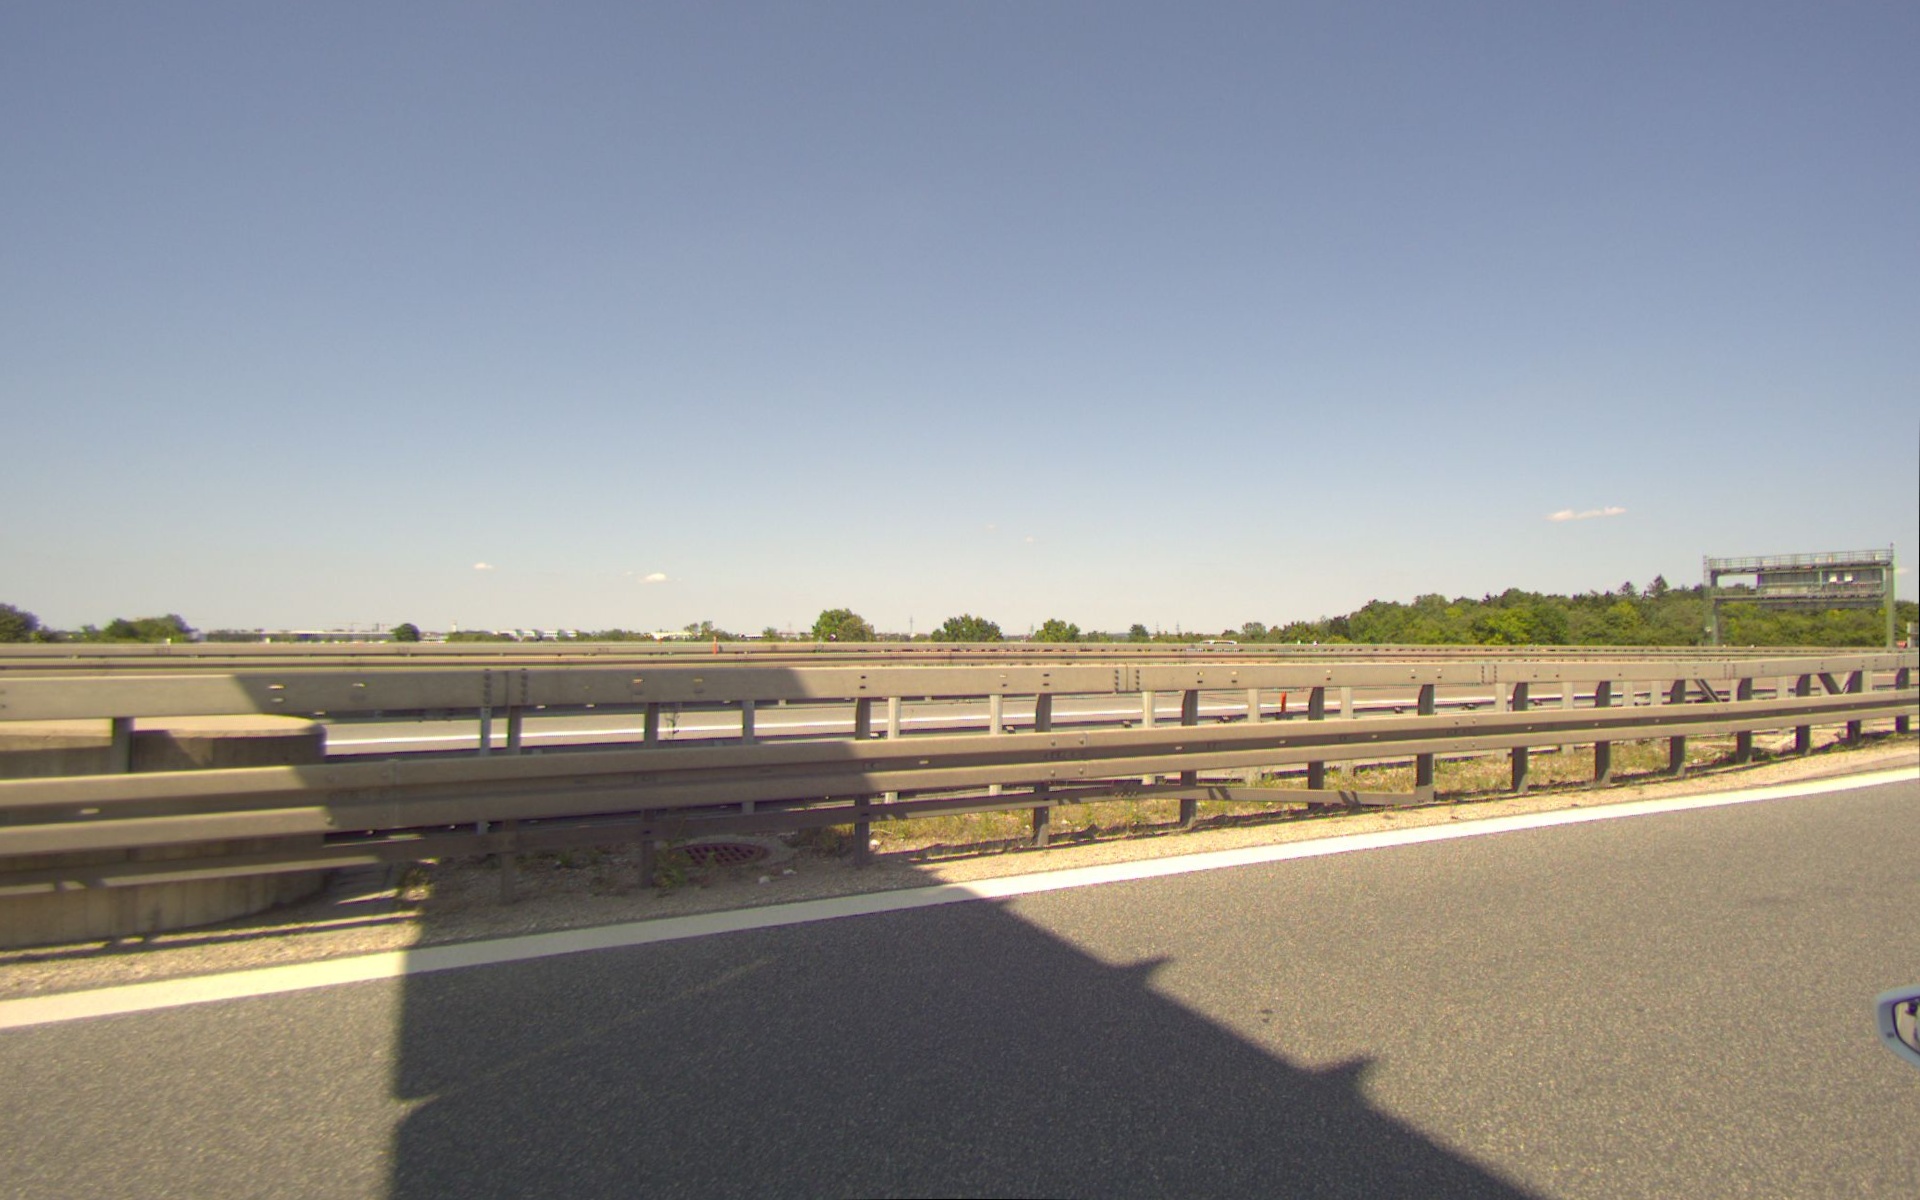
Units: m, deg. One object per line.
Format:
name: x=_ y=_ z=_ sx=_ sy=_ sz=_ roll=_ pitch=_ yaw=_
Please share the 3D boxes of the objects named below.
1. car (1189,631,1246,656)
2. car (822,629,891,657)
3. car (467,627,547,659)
car: x=16.274 y=2.748 z=63.477 sx=3.303 sy=1.371 sz=1.572 roll=4 pitch=-3 yaw=-28
car: x=-5.610 y=2.322 z=54.418 sx=3.303 sy=1.371 sz=1.572 roll=4 pitch=-3 yaw=-28
car: x=-21.460 y=2.048 z=47.546 sx=3.303 sy=1.371 sz=1.572 roll=4 pitch=-3 yaw=-28
